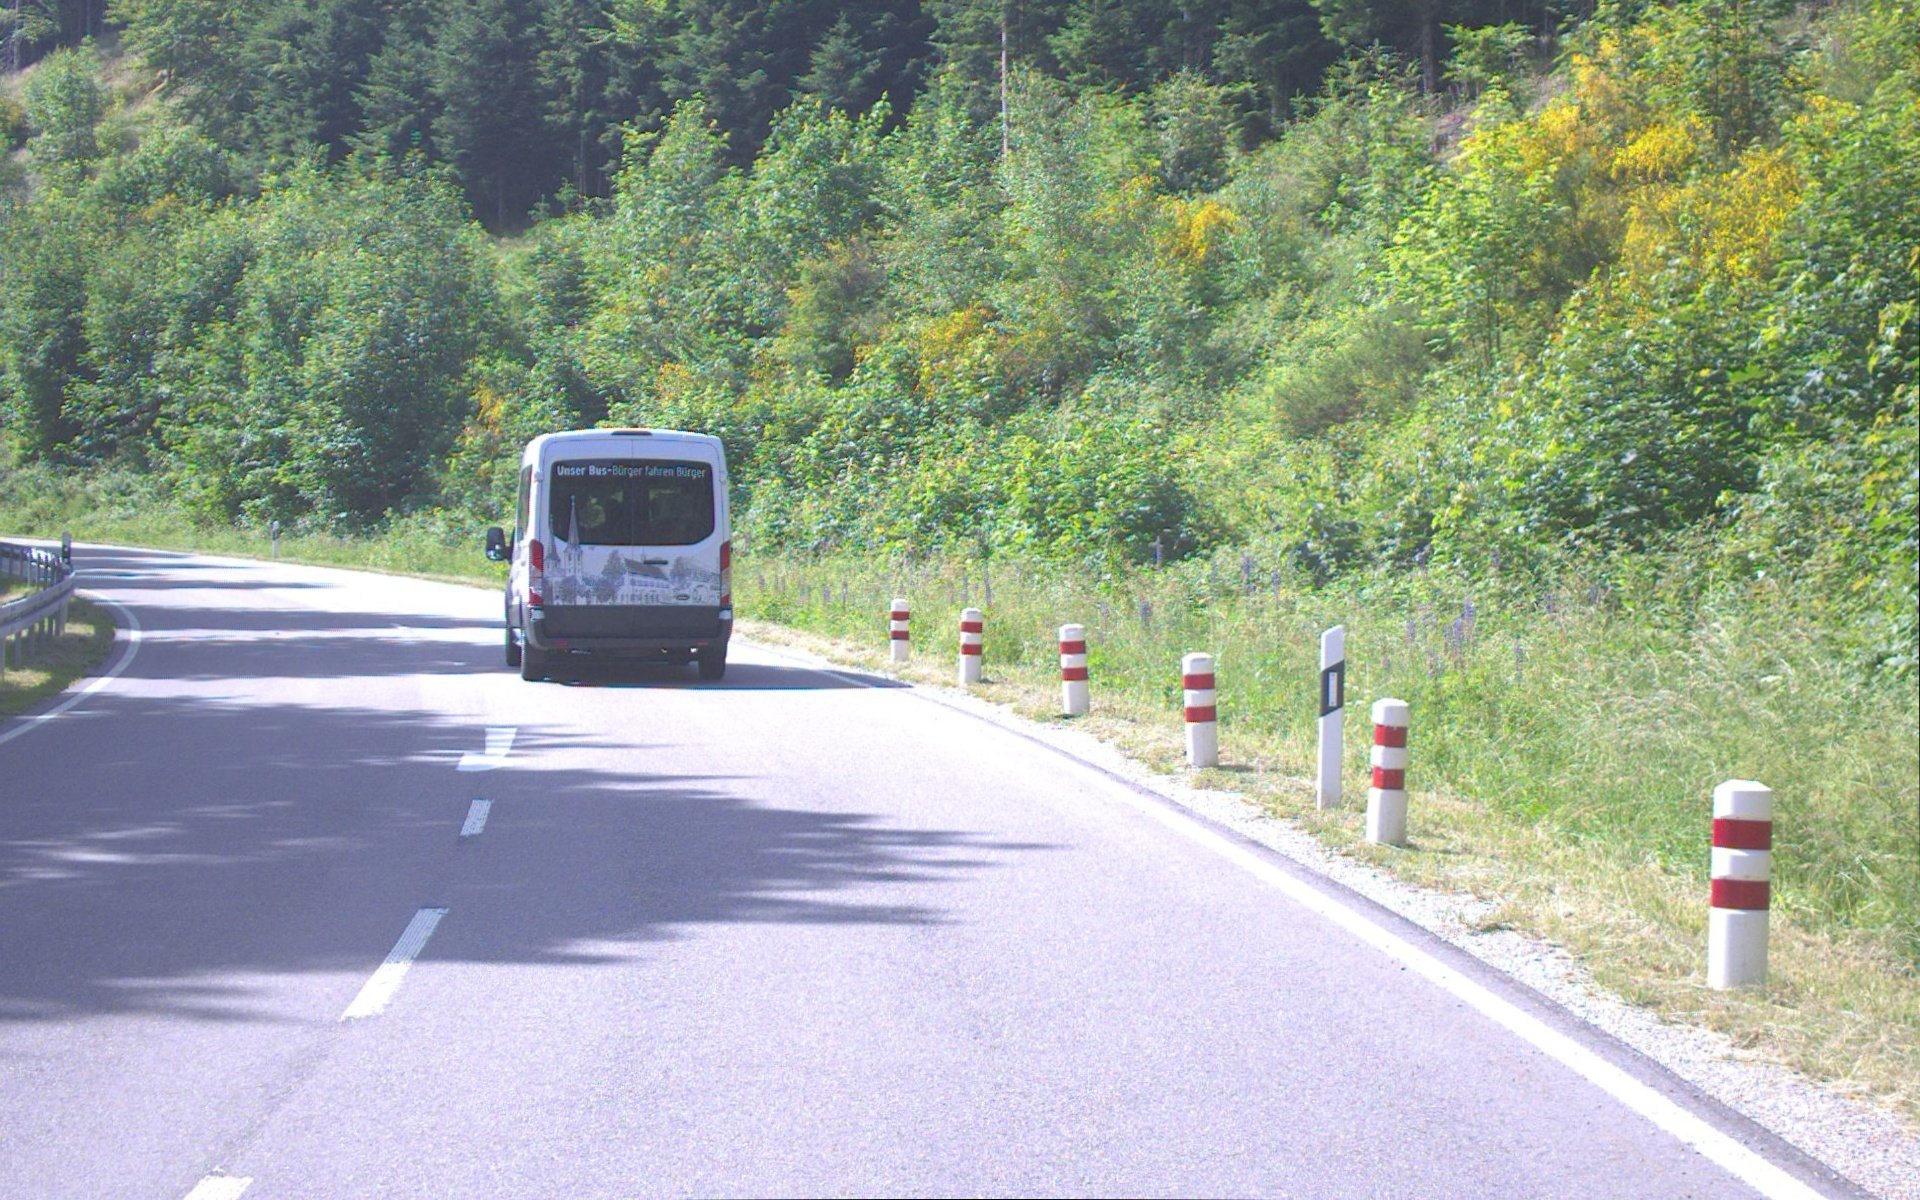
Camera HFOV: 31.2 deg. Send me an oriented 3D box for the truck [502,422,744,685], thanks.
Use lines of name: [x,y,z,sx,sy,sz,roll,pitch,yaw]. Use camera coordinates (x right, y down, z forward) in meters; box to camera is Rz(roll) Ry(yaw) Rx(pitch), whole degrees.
truck: [-3.559,-0.515,35.415,2.115,2.489,5.361,0,2,-9]
